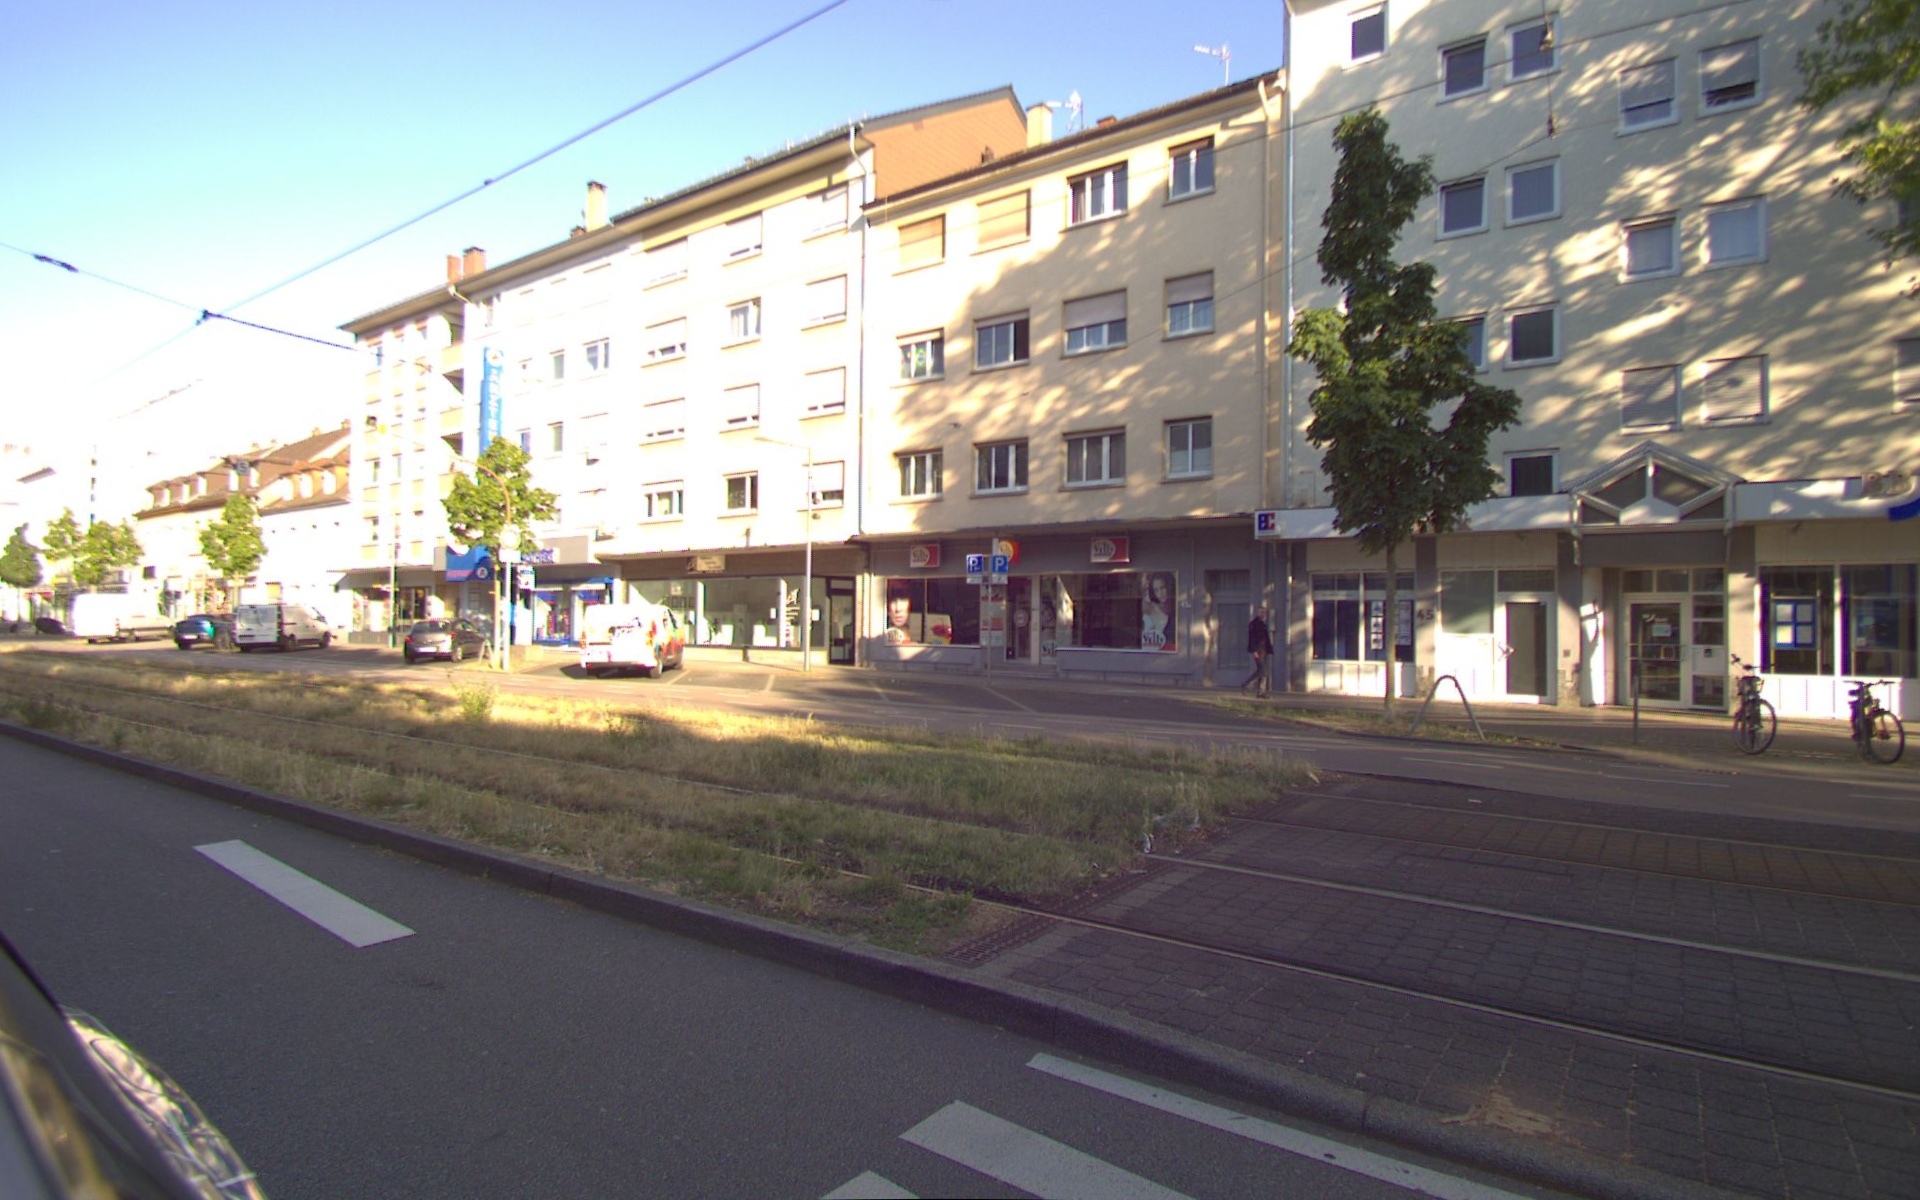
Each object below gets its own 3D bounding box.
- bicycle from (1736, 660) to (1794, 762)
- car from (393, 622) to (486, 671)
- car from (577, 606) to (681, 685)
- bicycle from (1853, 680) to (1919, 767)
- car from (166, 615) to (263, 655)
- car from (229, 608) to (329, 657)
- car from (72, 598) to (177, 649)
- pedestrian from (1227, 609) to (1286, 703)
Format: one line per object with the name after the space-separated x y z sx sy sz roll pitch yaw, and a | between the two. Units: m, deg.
10.297 1.383 12.977 0.511 1.147 1.724 -1 -1 36 | bicycle
-17.608 1.519 34.404 1.708 1.508 4.009 0 0 -10 | car
-8.772 1.149 27.133 1.830 1.913 4.005 0 0 -6 | car
11.387 1.486 12.432 0.471 0.895 1.724 -1 -1 36 | bicycle
-34.175 1.559 46.523 1.830 1.727 3.919 0 0 -4 | car
-28.641 1.306 42.726 1.828 1.952 4.514 0 0 -10 | car
-45.289 1.218 55.081 1.895 2.634 6.608 0 0 -16 | car
6.005 1.103 20.482 0.916 1.841 0.747 -1 -1 41 | pedestrian
